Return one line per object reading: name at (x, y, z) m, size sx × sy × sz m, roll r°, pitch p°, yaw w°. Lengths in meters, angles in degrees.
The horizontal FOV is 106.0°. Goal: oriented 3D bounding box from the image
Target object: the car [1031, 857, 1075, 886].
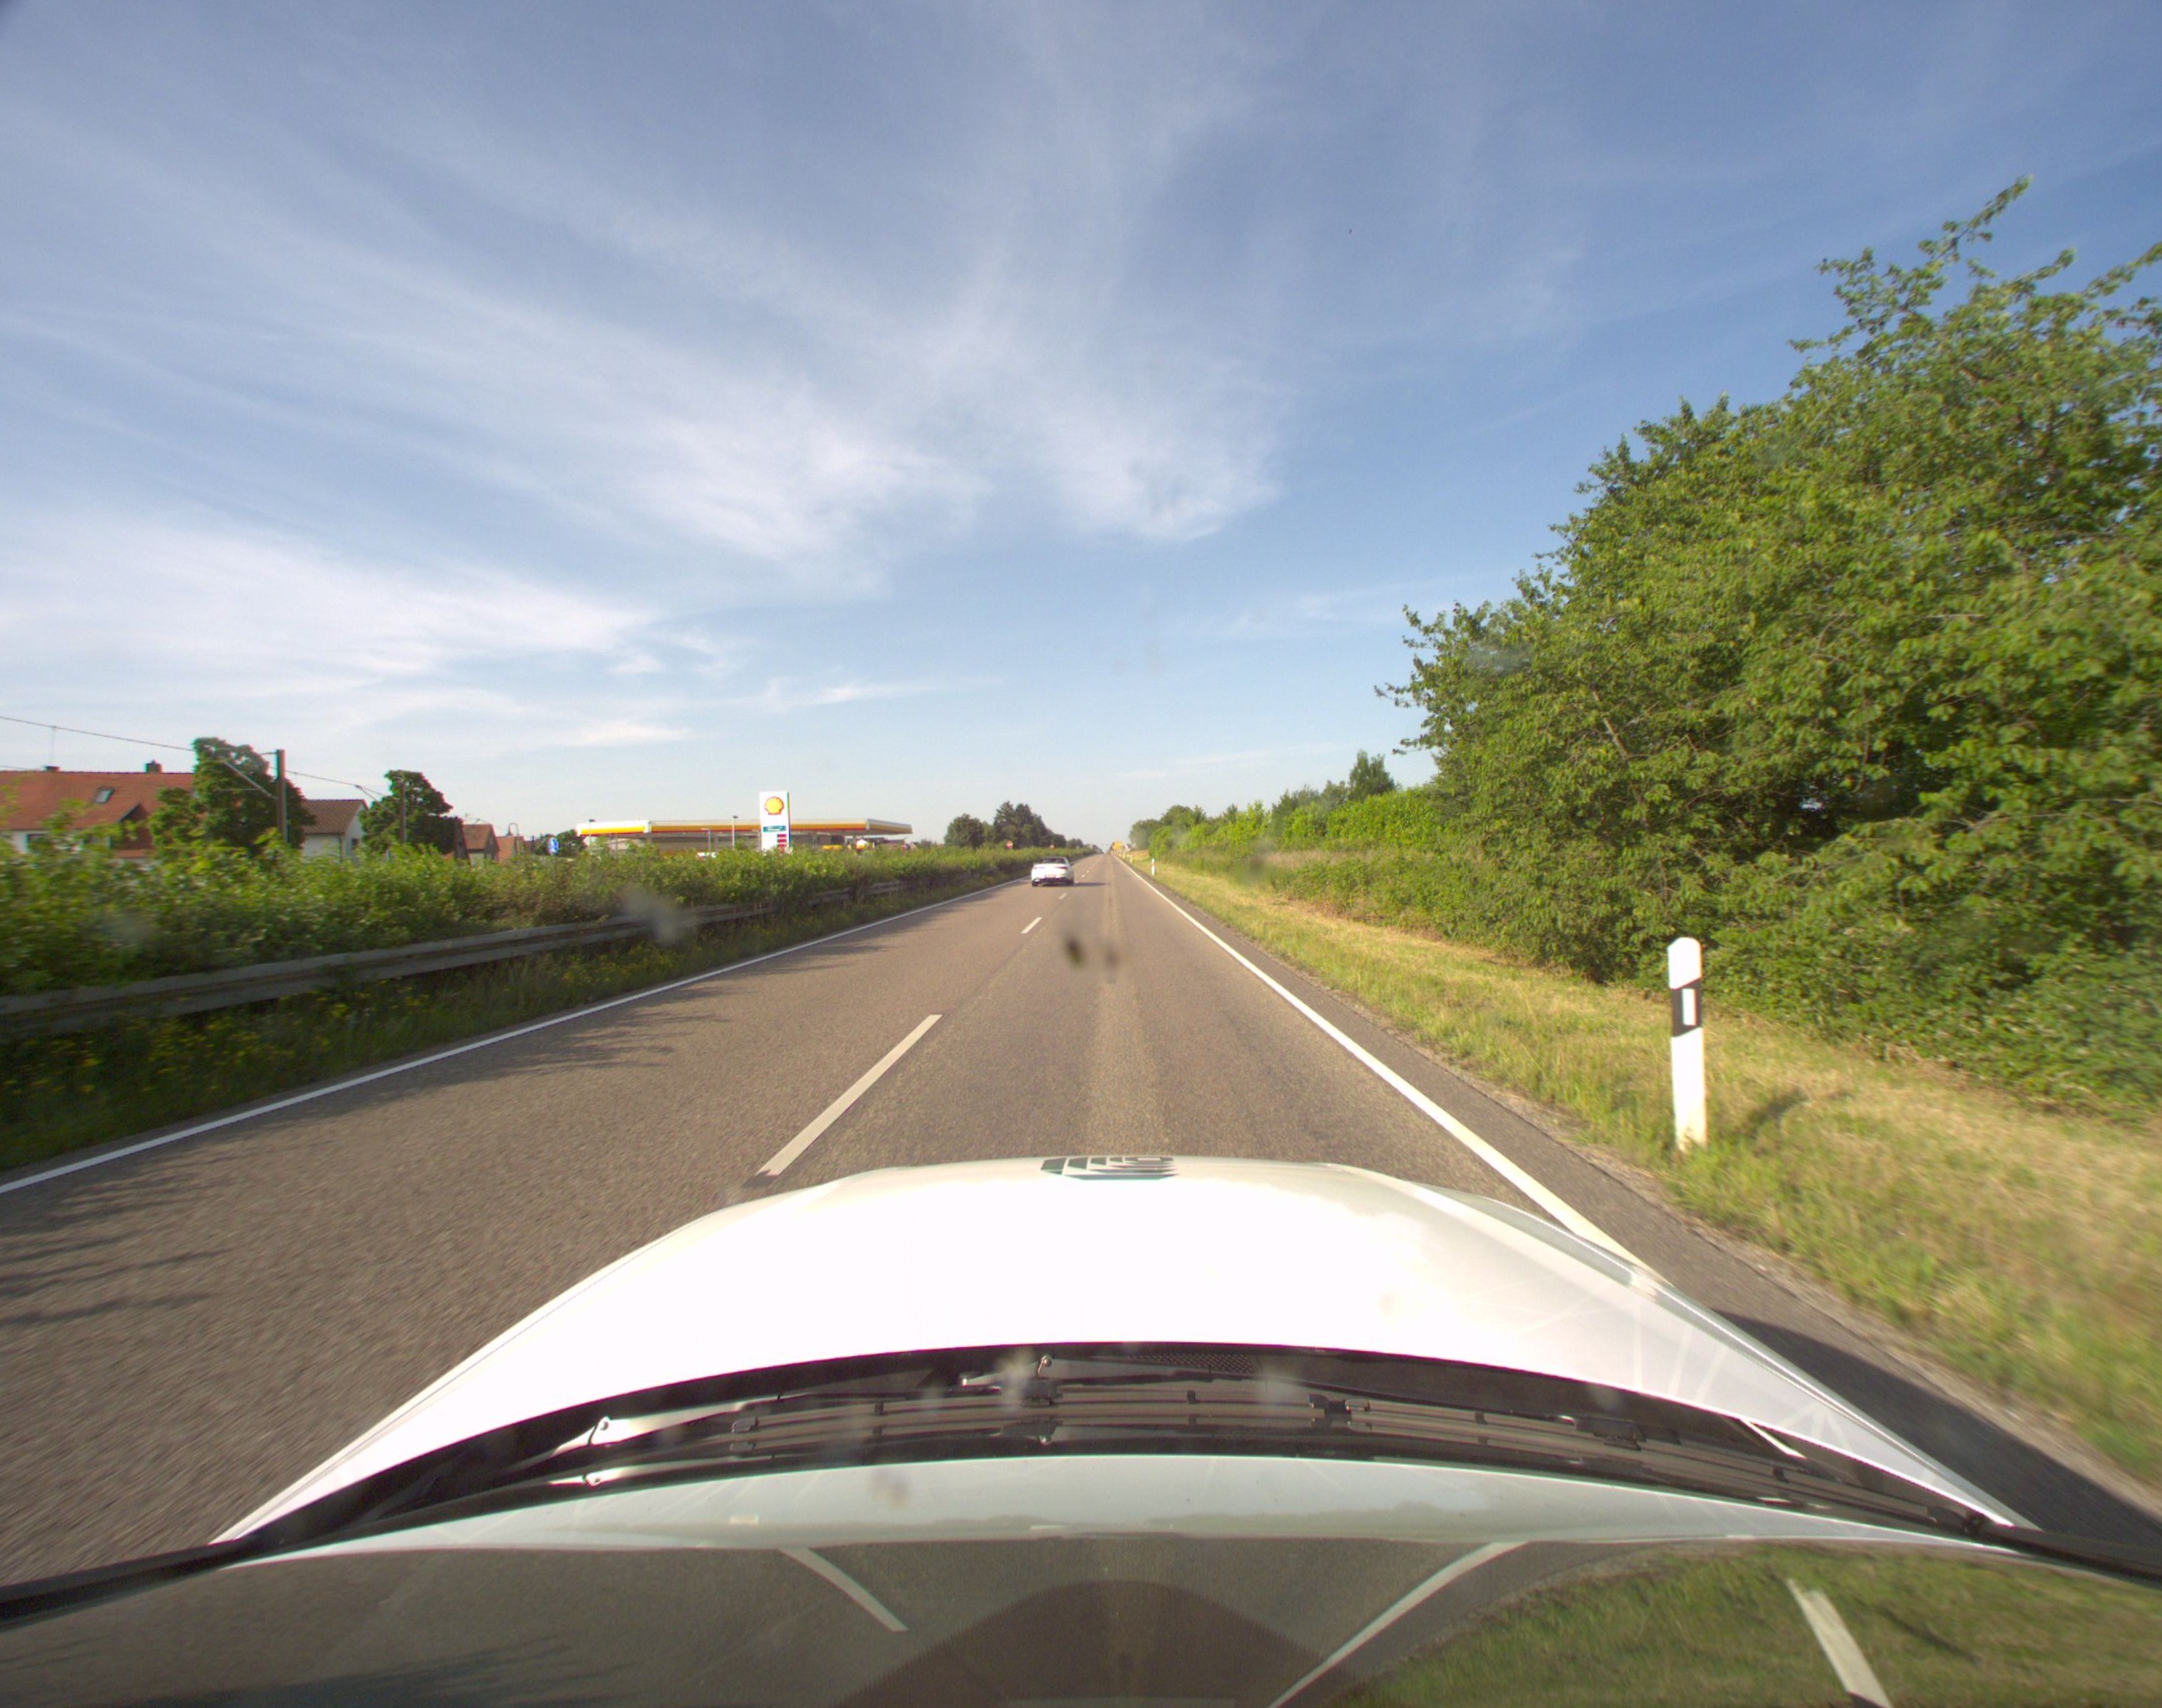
car at (-1.291, 0.811, 39.543) m, size 1.764 × 1.337 × 4.952 m, roll 0°, pitch 0°, yaw 2°
